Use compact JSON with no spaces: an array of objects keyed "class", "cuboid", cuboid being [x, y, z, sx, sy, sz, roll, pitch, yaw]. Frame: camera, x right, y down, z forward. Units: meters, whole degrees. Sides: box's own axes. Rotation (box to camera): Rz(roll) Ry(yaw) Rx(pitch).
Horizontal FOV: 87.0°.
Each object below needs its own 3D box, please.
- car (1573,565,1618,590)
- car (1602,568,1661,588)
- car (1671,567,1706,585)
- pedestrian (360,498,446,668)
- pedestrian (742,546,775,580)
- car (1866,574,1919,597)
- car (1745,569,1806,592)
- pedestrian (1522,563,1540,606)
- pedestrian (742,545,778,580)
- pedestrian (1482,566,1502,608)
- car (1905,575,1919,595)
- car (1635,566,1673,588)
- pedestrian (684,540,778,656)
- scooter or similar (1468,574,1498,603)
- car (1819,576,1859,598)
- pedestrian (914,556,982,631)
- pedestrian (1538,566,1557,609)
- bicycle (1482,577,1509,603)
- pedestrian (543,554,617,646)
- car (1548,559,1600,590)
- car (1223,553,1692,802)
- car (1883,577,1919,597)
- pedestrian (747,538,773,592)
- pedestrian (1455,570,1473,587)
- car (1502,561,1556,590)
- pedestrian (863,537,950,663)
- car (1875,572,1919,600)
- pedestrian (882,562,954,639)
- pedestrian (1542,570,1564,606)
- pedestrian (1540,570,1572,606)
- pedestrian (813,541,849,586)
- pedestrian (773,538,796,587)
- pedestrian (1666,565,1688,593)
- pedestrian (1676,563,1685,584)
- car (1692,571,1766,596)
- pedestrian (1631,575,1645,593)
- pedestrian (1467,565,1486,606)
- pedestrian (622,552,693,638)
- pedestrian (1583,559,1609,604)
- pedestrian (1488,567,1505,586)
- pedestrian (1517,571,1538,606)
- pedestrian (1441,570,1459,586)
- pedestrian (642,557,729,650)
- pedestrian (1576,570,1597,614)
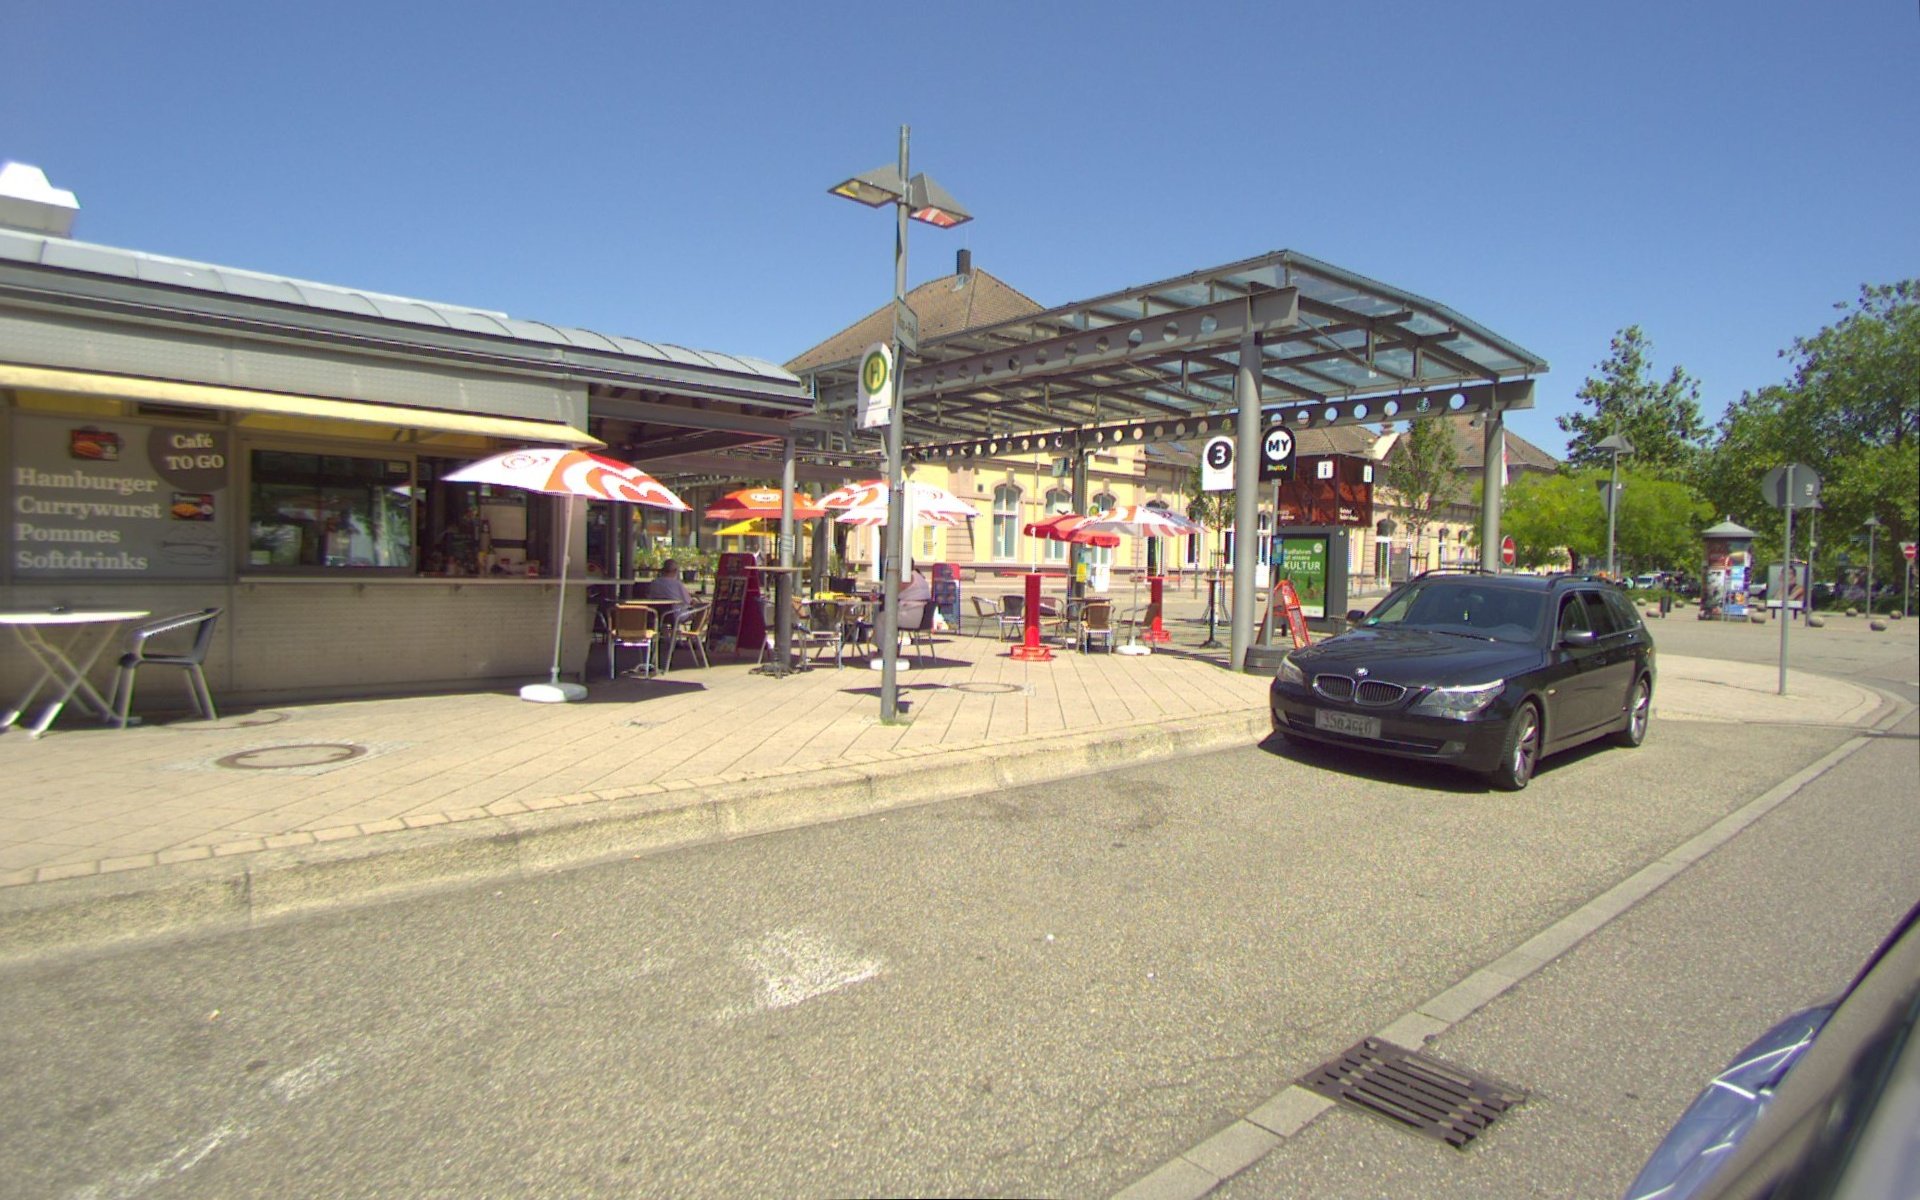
[{"class":"car","cuboid":[49.955,-1.777,79.466,2.074,1.863,4.764,2,1,44]},{"class":"car","cuboid":[72.195,-2.367,108.878,2.016,2.147,4.955,-1,1,-42]},{"class":"car","cuboid":[74.585,-2.436,103.577,4.173,1.811,1.997,-2,1,-40]},{"class":"pedestrian","cuboid":[-6.020,-0.195,10.943,0.695,1.759,0.688,-1,2,-41]},{"class":"pedestrian","cuboid":[-8.492,-1.575,42.562,1.033,1.369,0.977,-2,6,-38]},{"class":"car","cuboid":[63.987,-0.931,67.638,4.739,1.434,1.768,2,2,31]},{"class":"car","cuboid":[65.407,-1.601,81.268,1.768,1.624,4.062,0,3,4]},{"class":"pedestrian","cuboid":[23.461,-0.641,41.603,0.506,1.761,0.567,2,2,20]},{"class":"pedestrian","cuboid":[-8.127,-1.532,41.129,1.043,1.369,0.968,4,5,28]},{"class":"pedestrian","cuboid":[22.288,-0.552,42.361,0.616,1.706,0.583,2,2,37]},{"class":"car","cuboid":[74.539,-1.106,76.730,3.830,1.478,1.625,2,2,21]},{"class":"car","cuboid":[60.973,-2.012,88.896,1.998,1.863,5.235,1,1,44]},{"class":"pedestrian","cuboid":[-2.741,-0.043,12.164,0.882,1.328,0.685,1,2,15]},{"class":"scooter or similar","cuboid":[21.217,-0.486,41.081,1.024,1.153,0.290,3,3,42]},{"class":"car","cuboid":[81.080,-1.218,93.431,1.721,1.917,3.966,2,2,25]},{"class":"pedestrian","cuboid":[-0.216,-0.129,18.151,0.878,1.293,0.848,0,2,-36]},{"class":"pedestrian","cuboid":[24.295,-0.523,41.858,0.579,1.761,0.595,2,2,24]},{"class":"bicycle","cuboid":[23.223,-0.429,43.858,1.916,1.073,0.421,-1,3,-43]},{"class":"pedestrian","cuboid":[-5.236,-0.009,13.942,0.724,1.220,0.760,-1,1,-41]},{"class":"car","cuboid":[45.184,-1.866,74.433,2.087,2.151,5.734,2,1,44]},{"class":"car","cuboid":[4.438,0.426,8.654,4.644,1.477,1.931,-1,6,-42]},{"class":"car","cuboid":[71.307,-0.939,75.066,3.830,1.478,1.625,2,2,21]},{"class":"pedestrian","cuboid":[-6.838,-1.205,34.587,0.591,1.831,0.625,2,2,29]},{"class":"pedestrian","cuboid":[35.885,-1.542,72.083,0.838,1.176,0.880,-1,4,-45]},{"class":"car","cuboid":[39.267,-1.703,69.828,5.053,1.889,1.811,0,1,-44]},{"class":"pedestrian","cuboid":[-0.629,-0.018,12.081,0.881,1.435,0.686,1,2,12]},{"class":"car","cuboid":[58.121,-0.879,62.461,3.045,1.613,1.603,0,2,-32]},{"class":"pedestrian","cuboid":[-0.665,-0.007,15.992,0.878,1.175,0.688,0,2,-36]},{"class":"pedestrian","cuboid":[23.351,-0.473,39.841,0.592,1.381,0.596,2,2,21]},{"class":"pedestrian","cuboid":[24.043,-0.510,40.834,0.901,1.403,0.938,2,2,20]},{"class":"pedestrian","cuboid":[-5.473,-1.558,42.788,1.065,1.869,1.081,-1,2,-43]},{"class":"pedestrian","cuboid":[-6.599,-1.421,38.048,0.620,1.831,0.690,0,2,-36]},{"class":"pedestrian","cuboid":[45.168,-1.306,63.727,0.759,1.738,0.815,1,2,2]},{"class":"pedestrian","cuboid":[67.408,-2.478,94.684,0.627,2.015,0.607,0,1,44]},{"class":"car","cuboid":[53.289,-1.185,70.263,1.768,1.561,4.530,0,3,3]},{"class":"pedestrian","cuboid":[54.371,-1.310,81.168,0.794,1.442,0.684,2,2,30]},{"class":"pedestrian","cuboid":[21.518,-0.612,42.166,0.552,1.706,0.580,2,2,37]},{"class":"pedestrian","cuboid":[-4.410,-0.081,14.740,0.724,1.220,0.760,-1,1,-41]},{"class":"pedestrian","cuboid":[25.542,-0.754,40.678,0.684,1.785,0.582,2,2,15]},{"class":"pedestrian","cuboid":[41.830,-1.815,78.884,0.838,1.388,0.880,-1,4,-45]},{"class":"pedestrian","cuboid":[22.545,-0.467,40.241,0.592,1.381,0.596,2,2,21]},{"class":"pedestrian","cuboid":[35.237,-1.560,72.764,0.838,1.093,0.880,-1,4,-45]},{"class":"pedestrian","cuboid":[-3.611,0.026,13.352,0.882,1.175,0.685,1,2,15]},{"class":"pedestrian","cuboid":[25.637,-0.333,41.408,0.621,1.761,0.543,2,2,24]}]
